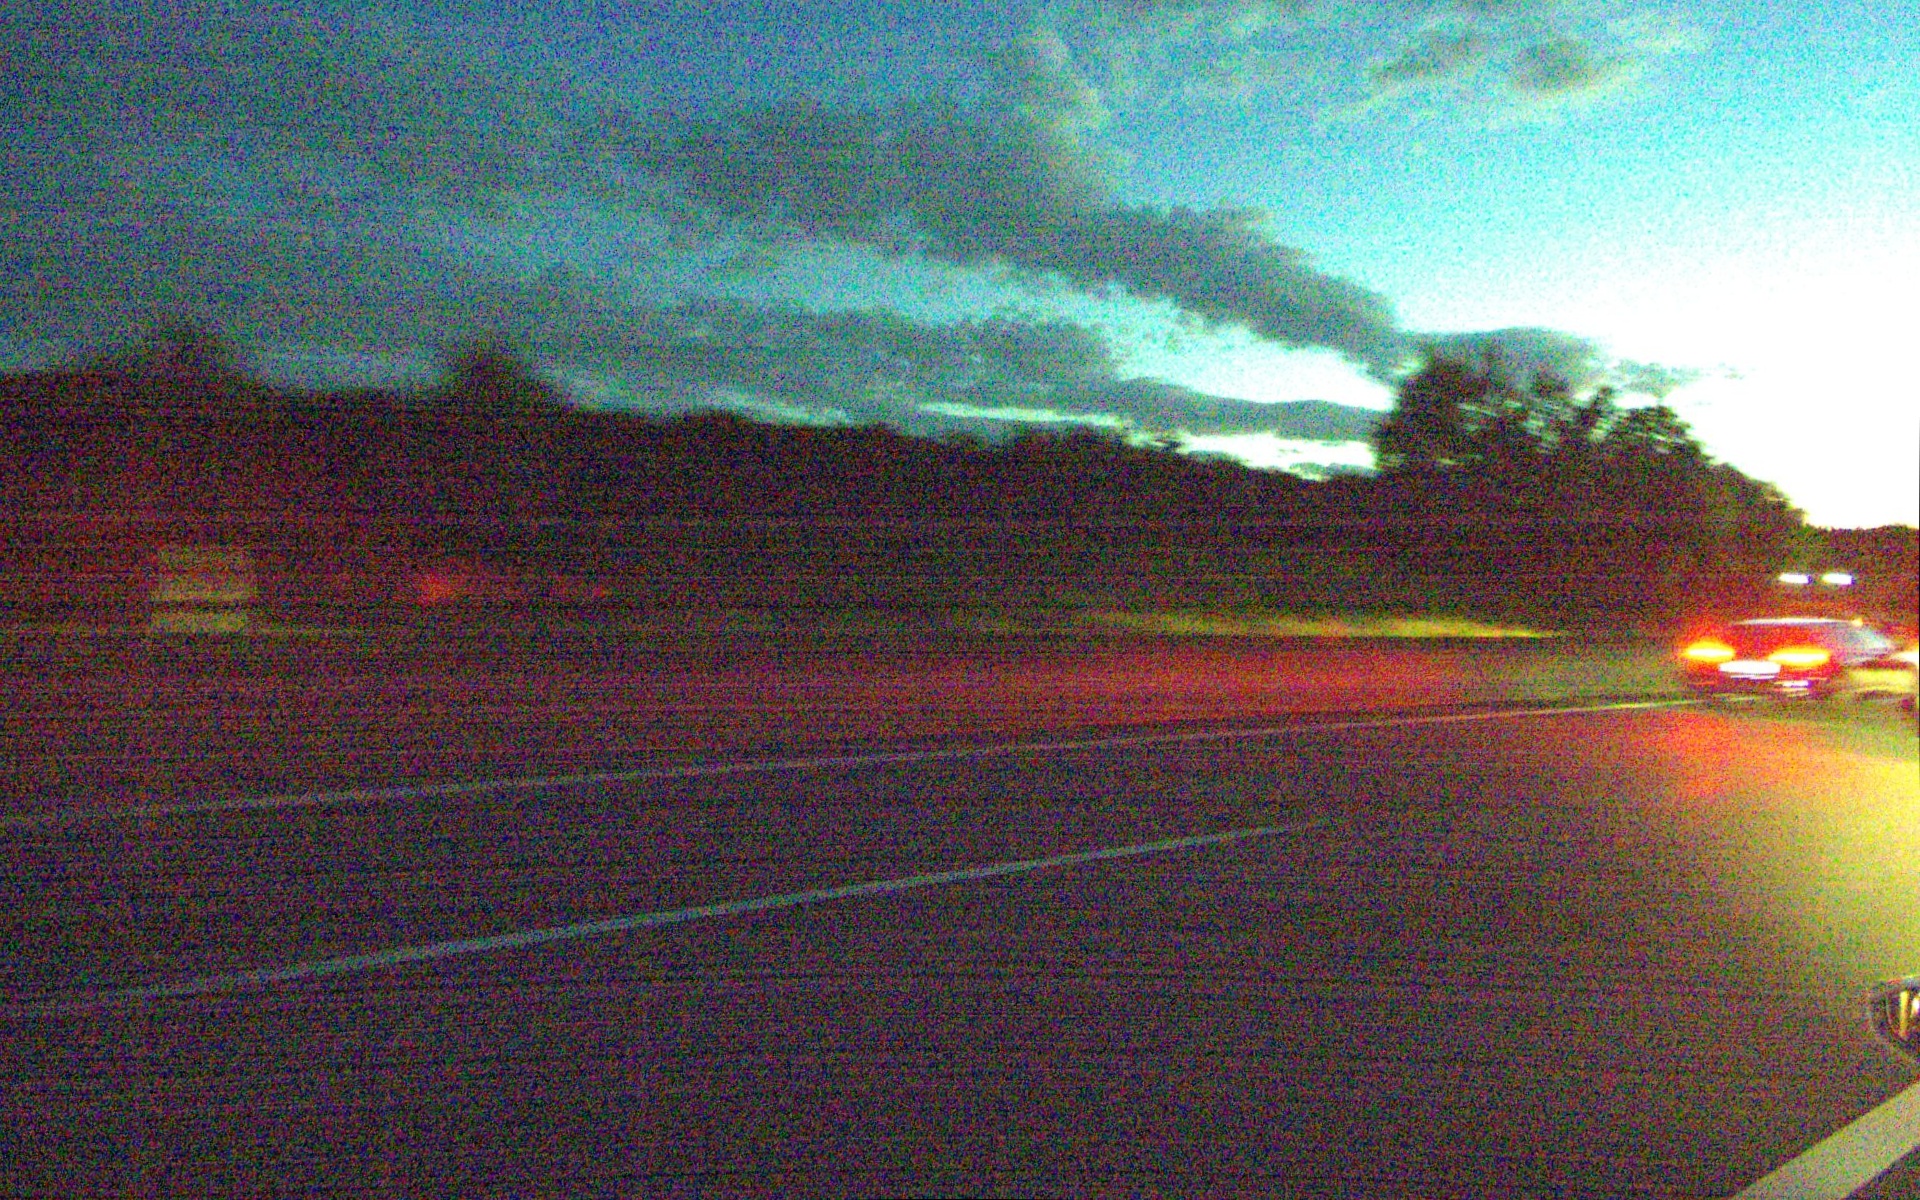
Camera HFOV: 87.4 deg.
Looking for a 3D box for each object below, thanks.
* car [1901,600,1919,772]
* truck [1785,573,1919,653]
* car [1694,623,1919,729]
[{"bbox_3d":[12.681,0.950,10.953,5.873,1.744,1.984,2,-1,-31],"label":"car"},{"bbox_3d":[46.841,0.729,52.612,8.956,3.903,2.508,1,0,-30],"label":"truck"},{"bbox_3d":[13.961,1.163,16.121,5.451,1.450,1.542,2,-1,-31],"label":"car"}]
